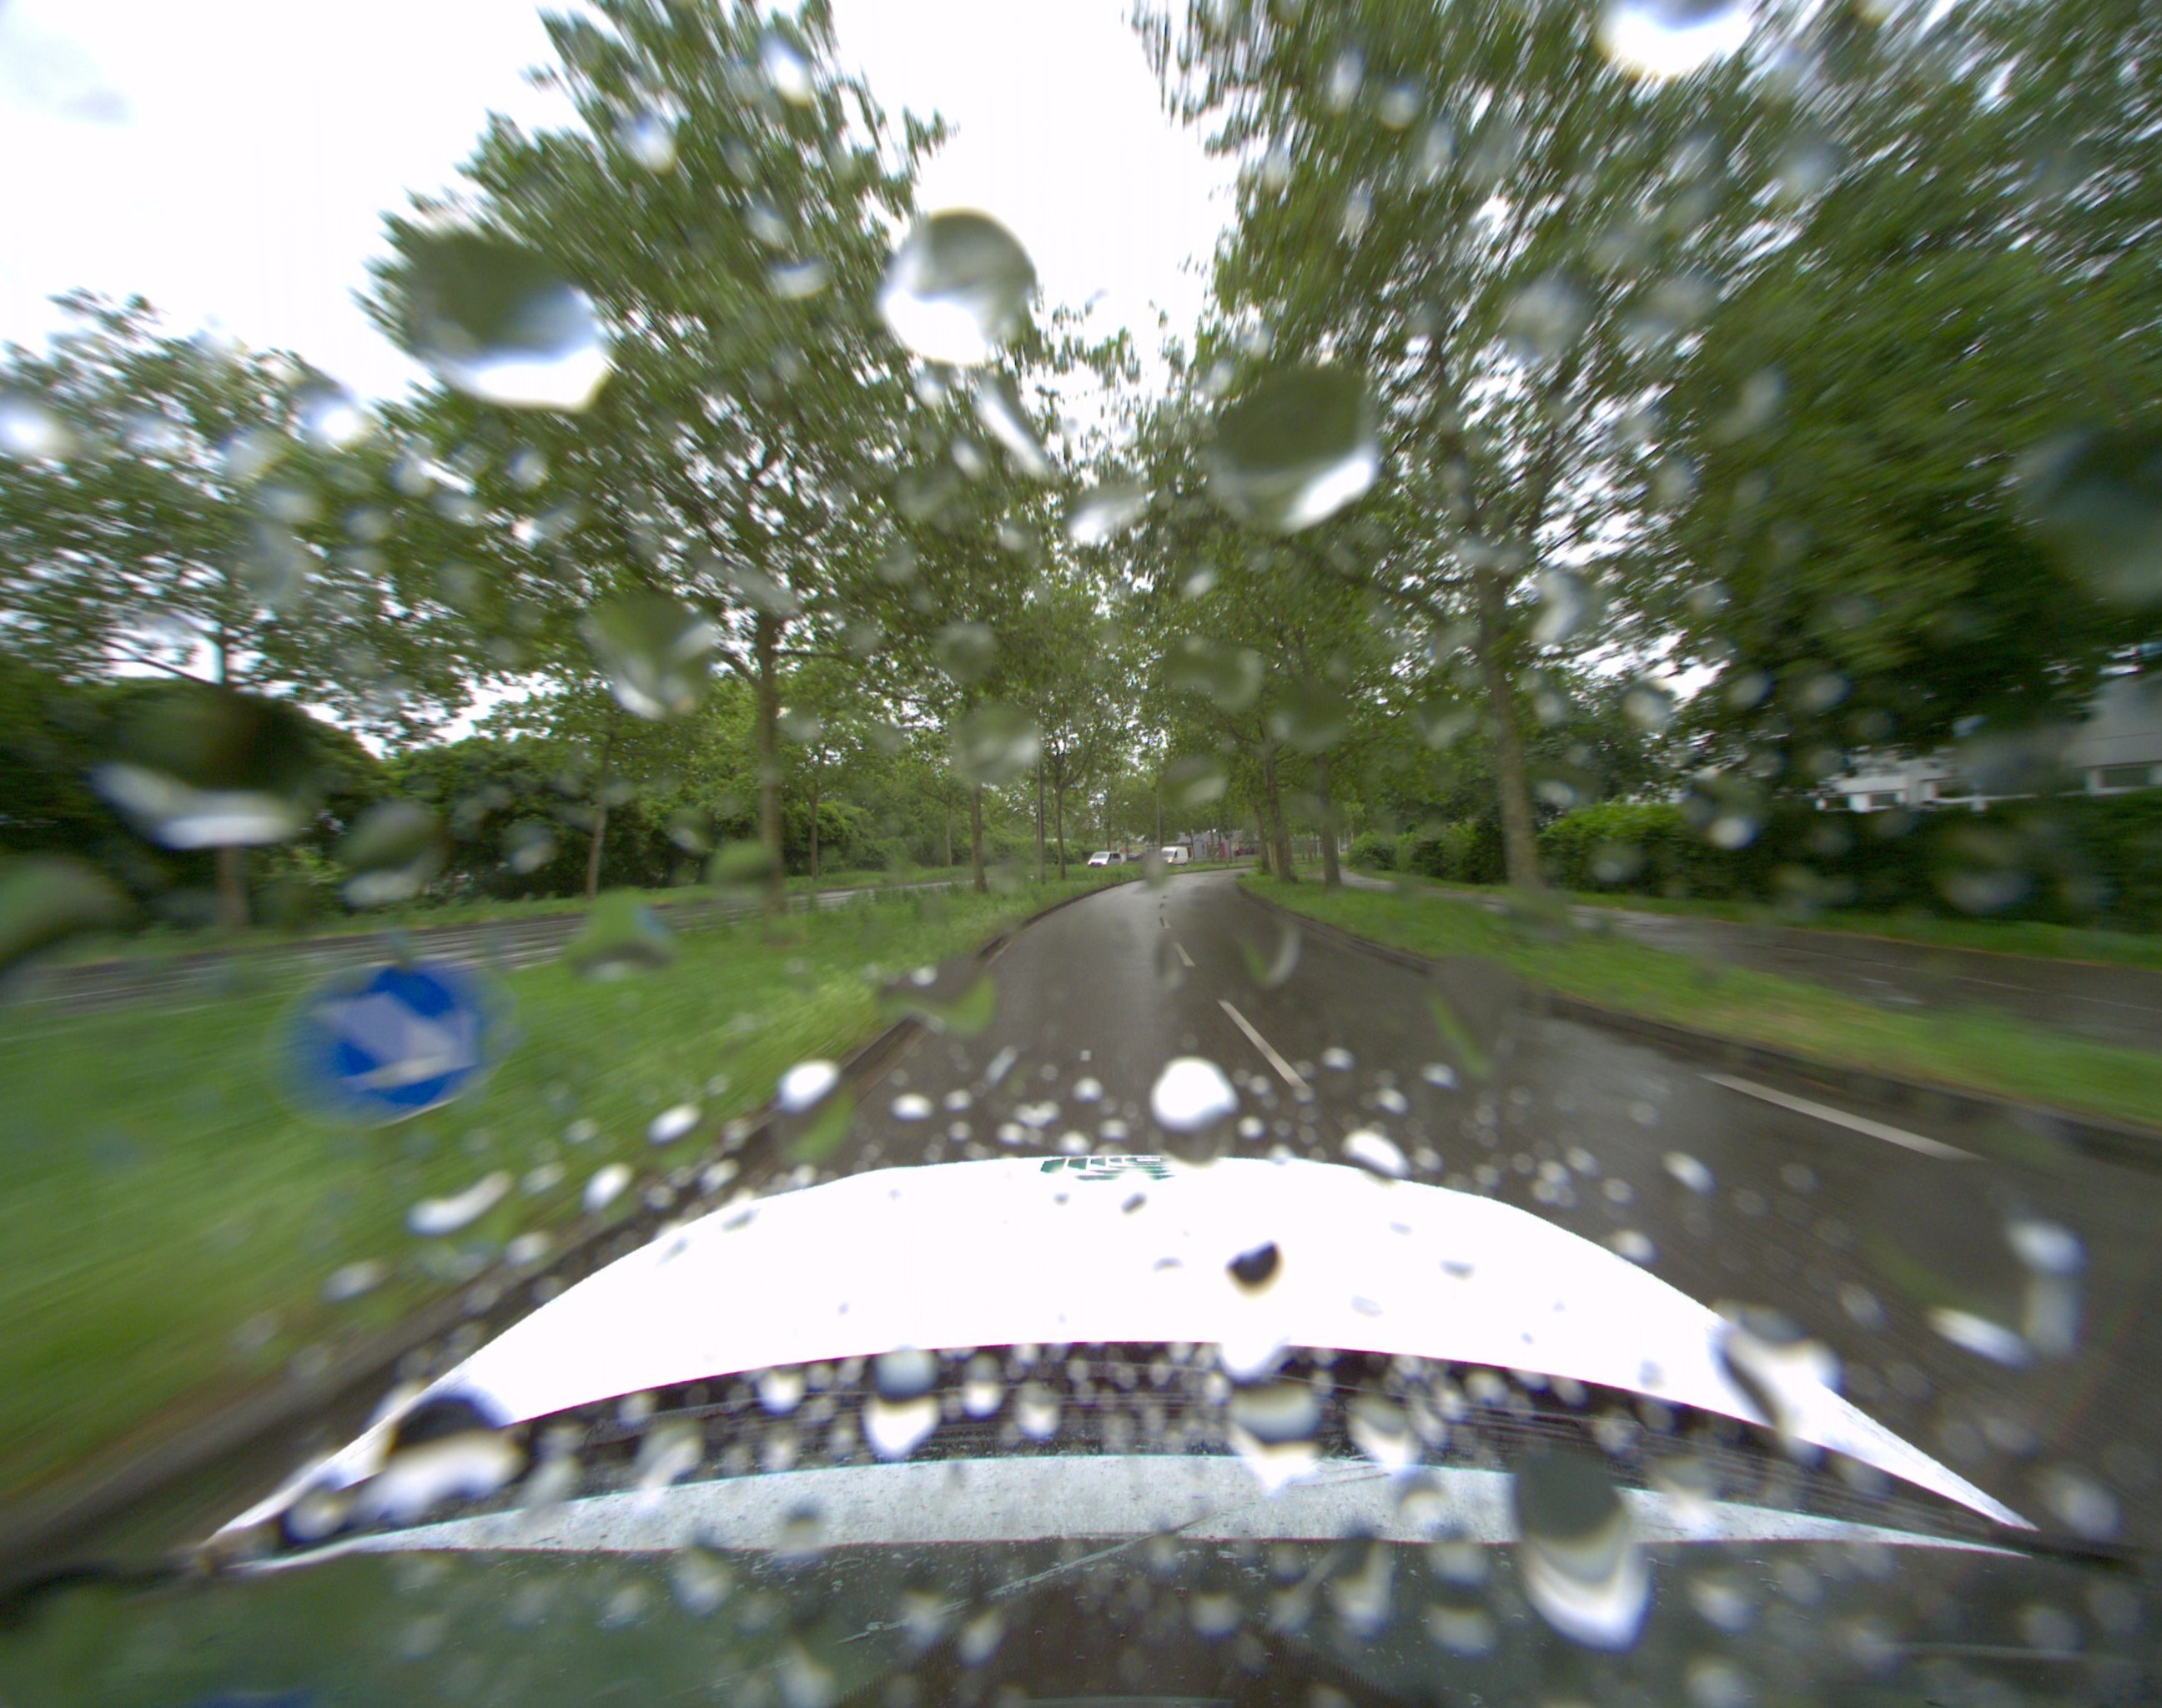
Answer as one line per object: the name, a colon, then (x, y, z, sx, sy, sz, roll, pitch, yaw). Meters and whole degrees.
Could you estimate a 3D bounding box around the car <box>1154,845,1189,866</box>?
car: (10.501, 0.139, 94.118, 2.262, 2.271, 6.001, -2, 0, 24)

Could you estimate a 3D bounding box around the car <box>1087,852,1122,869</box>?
car: (2.267, 0.604, 77.738, 1.955, 1.564, 4.754, -2, 0, 19)

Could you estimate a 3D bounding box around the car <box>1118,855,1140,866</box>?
car: (9.236, 1.223, 156.490, 3.981, 2.014, 1.996, -2, -2, -6)
